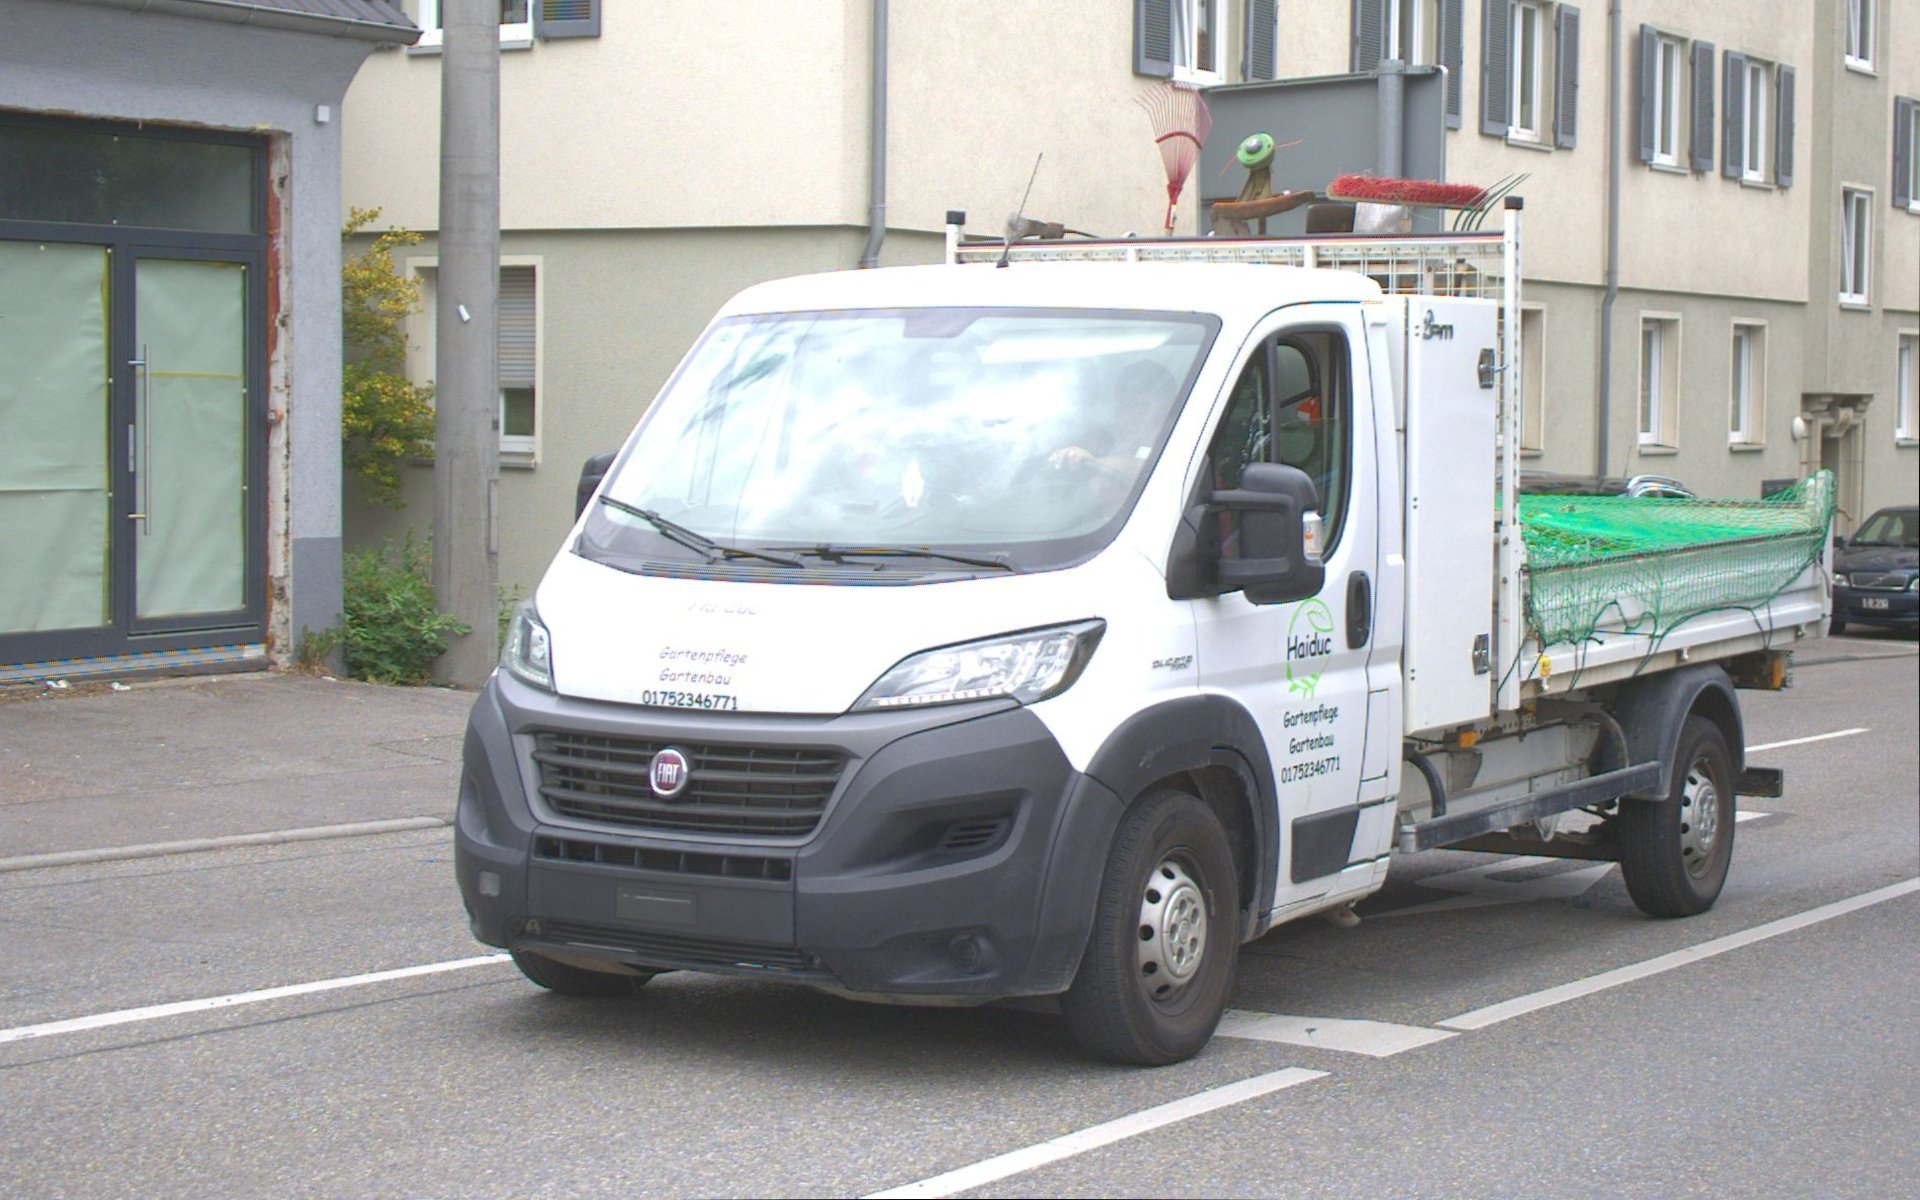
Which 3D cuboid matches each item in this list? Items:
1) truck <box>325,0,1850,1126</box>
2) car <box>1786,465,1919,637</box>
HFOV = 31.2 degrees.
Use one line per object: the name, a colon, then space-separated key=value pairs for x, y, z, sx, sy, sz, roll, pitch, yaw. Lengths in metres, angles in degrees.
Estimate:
truck: x=0.896 y=-0.215 z=11.168 sx=1.997 sy=2.691 sz=6.396 roll=1 pitch=2 yaw=32
car: x=10.509 y=-0.566 z=36.664 sx=1.997 sy=1.744 sz=3.992 roll=1 pitch=2 yaw=35
